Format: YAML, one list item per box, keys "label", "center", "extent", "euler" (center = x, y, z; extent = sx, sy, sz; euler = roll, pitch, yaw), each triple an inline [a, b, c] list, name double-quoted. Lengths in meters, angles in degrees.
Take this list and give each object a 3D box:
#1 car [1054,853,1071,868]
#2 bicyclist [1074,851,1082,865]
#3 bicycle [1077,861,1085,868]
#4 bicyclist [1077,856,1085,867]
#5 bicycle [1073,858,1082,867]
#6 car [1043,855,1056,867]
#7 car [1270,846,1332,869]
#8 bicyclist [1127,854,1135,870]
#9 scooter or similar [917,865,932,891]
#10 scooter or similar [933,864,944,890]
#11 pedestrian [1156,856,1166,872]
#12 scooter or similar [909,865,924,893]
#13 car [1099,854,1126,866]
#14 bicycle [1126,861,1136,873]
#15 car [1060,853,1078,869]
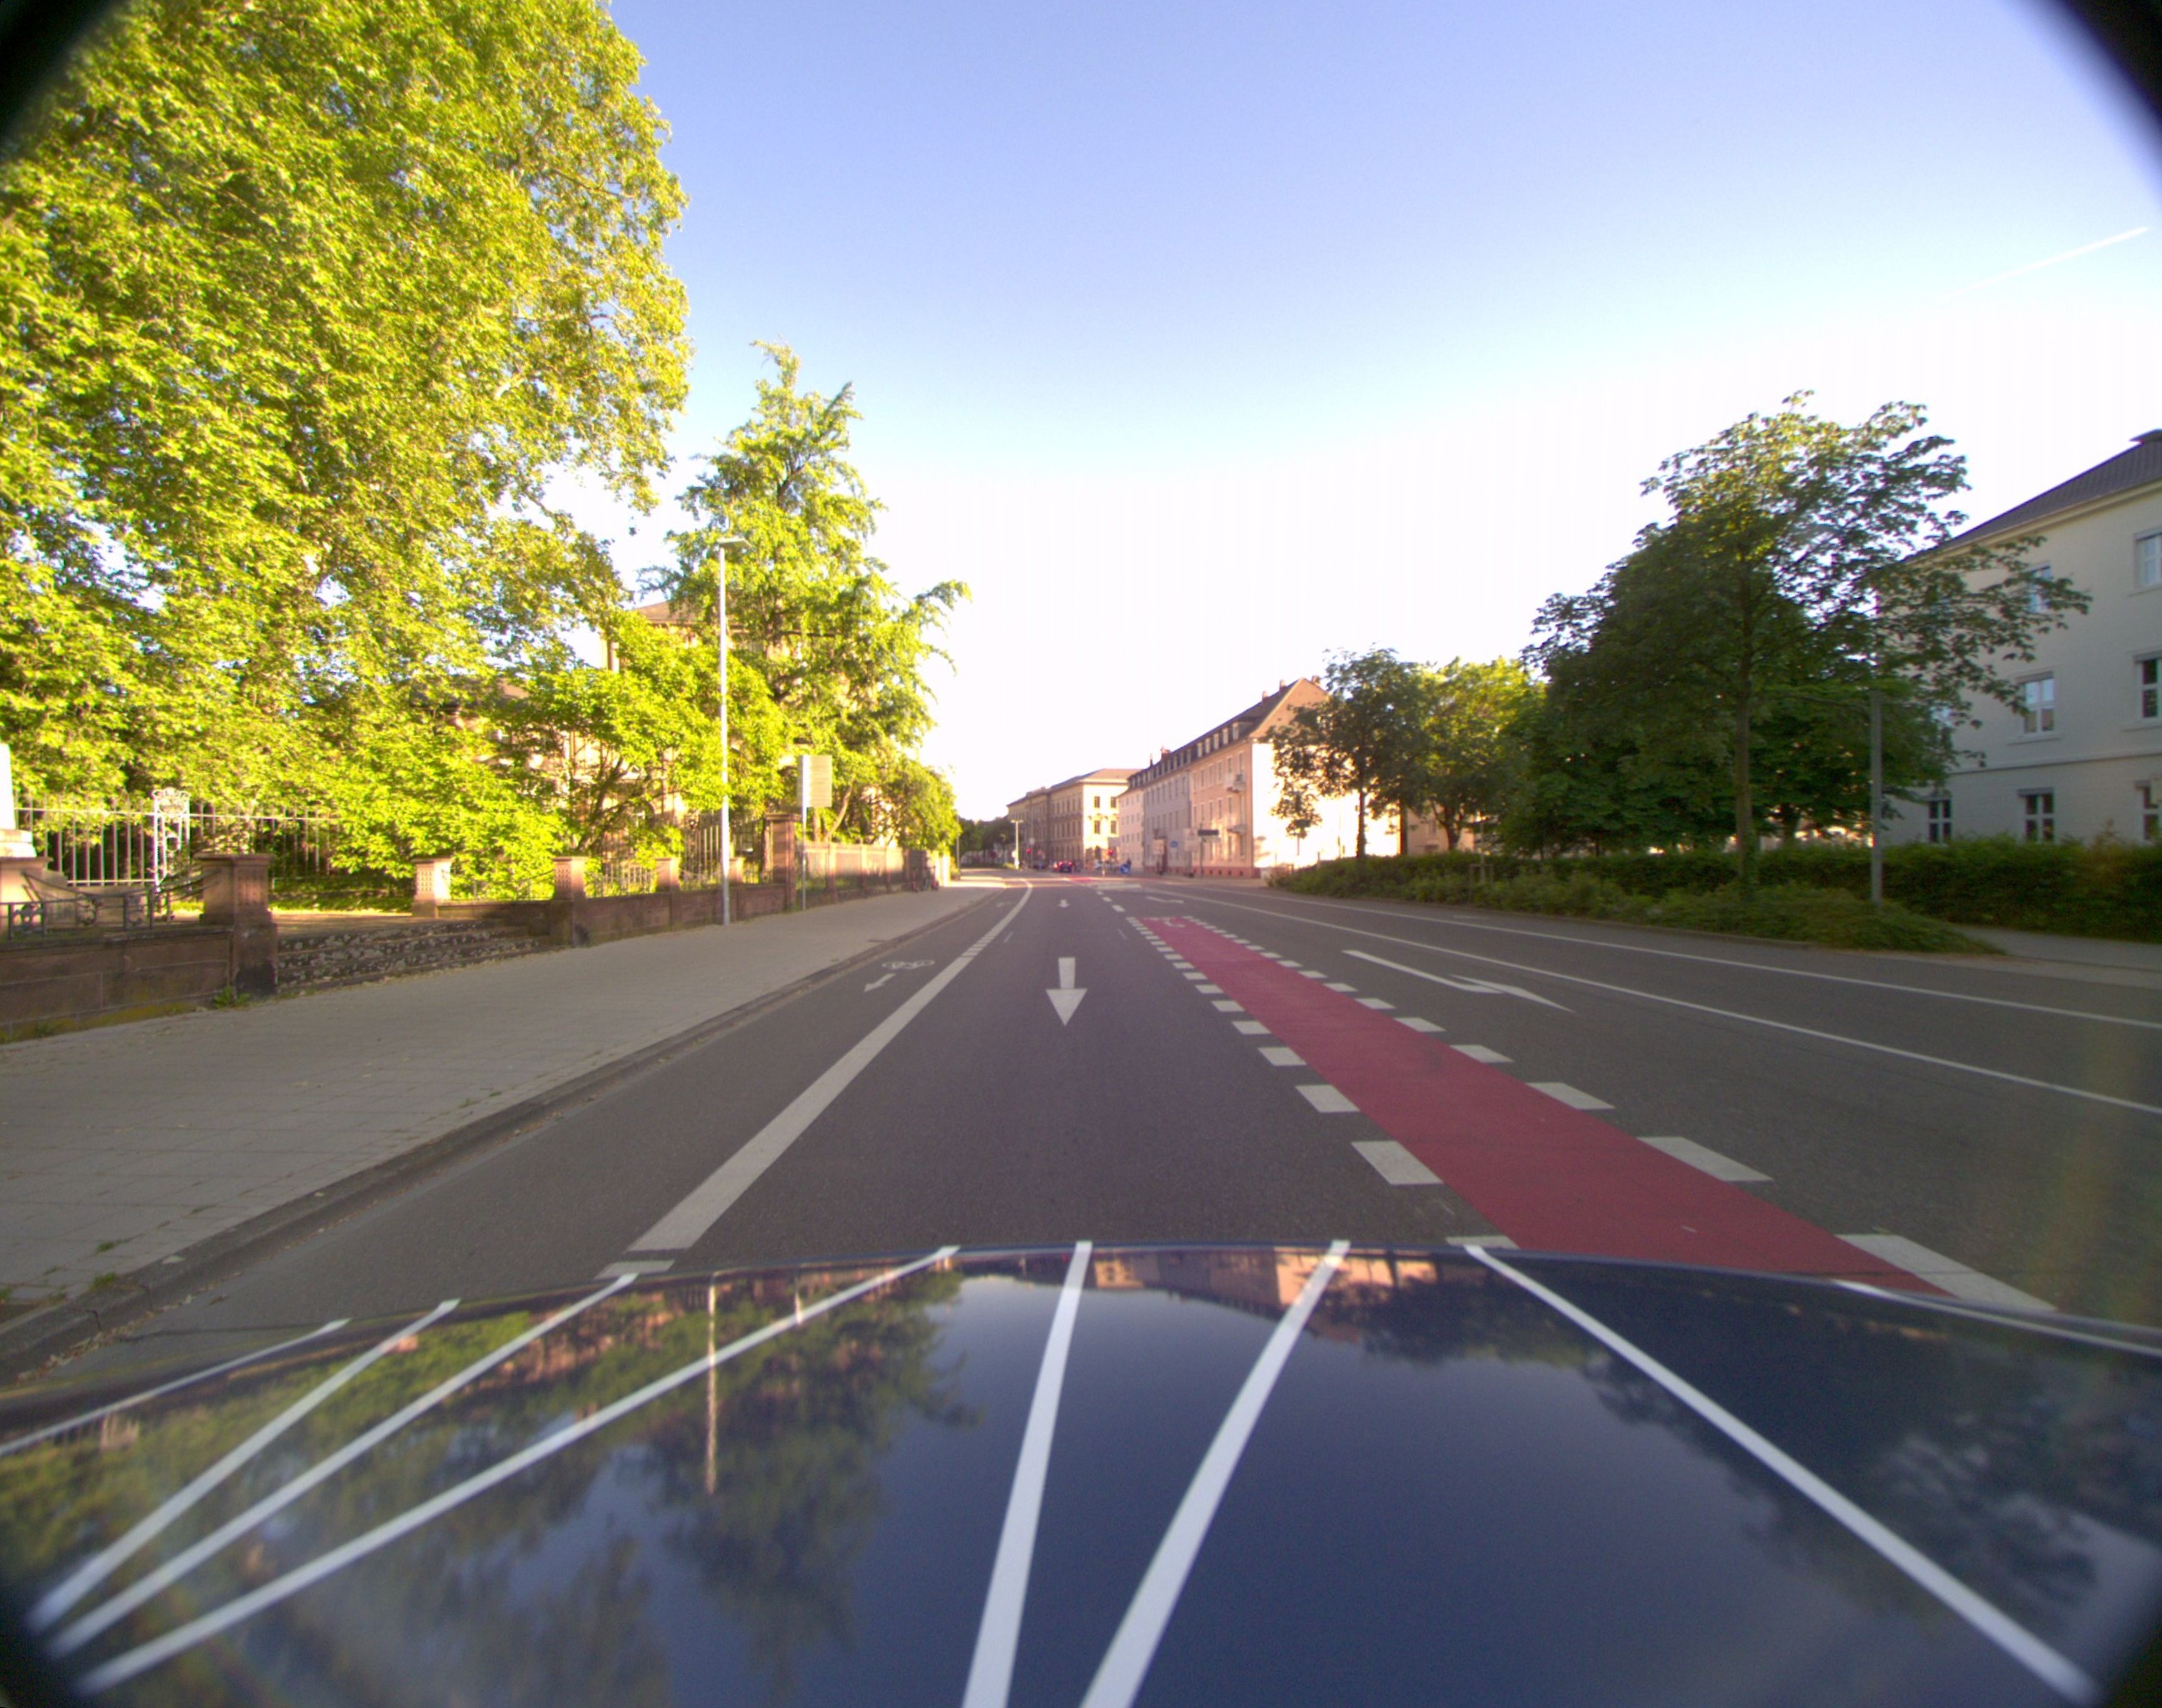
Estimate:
- label: "car"
  center: [-2.497, 0.882, 101.995]
  extent: [1.999, 2.002, 3.998]
  euler: [0, 0, -5]
- label: "bicyclist"
  center: [-0.497, 0.569, 108.898]
  extent: [0.956, 2.002, 1.307]
  euler: [0, 0, -9]
- label: "bicycle"
  center: [0.052, 1.416, 103.904]
  extent: [0.663, 0.907, 2.861]
  euler: [0, 0, -9]
- label: "bicyclist"
  center: [0.037, 0.997, 104.010]
  extent: [1.026, 1.481, 0.870]
  euler: [0, 0, -9]
- label: "bicycle"
  center: [-0.490, 1.233, 108.809]
  extent: [0.956, 1.216, 2.776]
  euler: [0, 0, -9]
- label: "car"
  center: [-5.238, 1.137, 127.672]
  extent: [1.867, 1.871, 4.000]
  euler: [-2, 1, 1]
- label: "car"
  center: [16.672, 0.260, 57.595]
  extent: [4.000, 1.652, 1.998]
  euler: [-2, 1, -9]
- label: "bicyclist"
  center: [4.892, 0.779, 74.847]
  extent: [0.691, 1.553, 0.838]
  euler: [1, 0, -3]
- label: "scooter or similar"
  center: [-7.560, 1.148, 36.696]
  extent: [0.576, 1.177, 1.487]
  euler: [0, 0, -7]
- label: "scooter or similar"
  center: [-7.087, 1.138, 37.777]
  extent: [0.517, 1.233, 1.521]
  euler: [0, 0, -11]
- label: "pedestrian"
  center: [9.480, 1.195, 90.317]
  extent: [0.949, 1.894, 1.062]
  euler: [-2, 1, -7]
- label: "scooter or similar"
  center: [-7.547, 1.133, 34.843]
  extent: [0.577, 1.246, 1.486]
  euler: [0, 0, -15]
- label: "car"
  center: [5.260, 1.018, 127.621]
  extent: [4.513, 2.093, 2.000]
  euler: [0, 0, -1]
- label: "bicycle"
  center: [4.886, 1.236, 74.898]
  extent: [0.697, 1.152, 2.245]
  euler: [1, 0, -3]
- label: "car"
  center: [-1.592, 0.867, 96.260]
  extent: [1.999, 2.002, 3.998]
  euler: [0, 0, -5]
